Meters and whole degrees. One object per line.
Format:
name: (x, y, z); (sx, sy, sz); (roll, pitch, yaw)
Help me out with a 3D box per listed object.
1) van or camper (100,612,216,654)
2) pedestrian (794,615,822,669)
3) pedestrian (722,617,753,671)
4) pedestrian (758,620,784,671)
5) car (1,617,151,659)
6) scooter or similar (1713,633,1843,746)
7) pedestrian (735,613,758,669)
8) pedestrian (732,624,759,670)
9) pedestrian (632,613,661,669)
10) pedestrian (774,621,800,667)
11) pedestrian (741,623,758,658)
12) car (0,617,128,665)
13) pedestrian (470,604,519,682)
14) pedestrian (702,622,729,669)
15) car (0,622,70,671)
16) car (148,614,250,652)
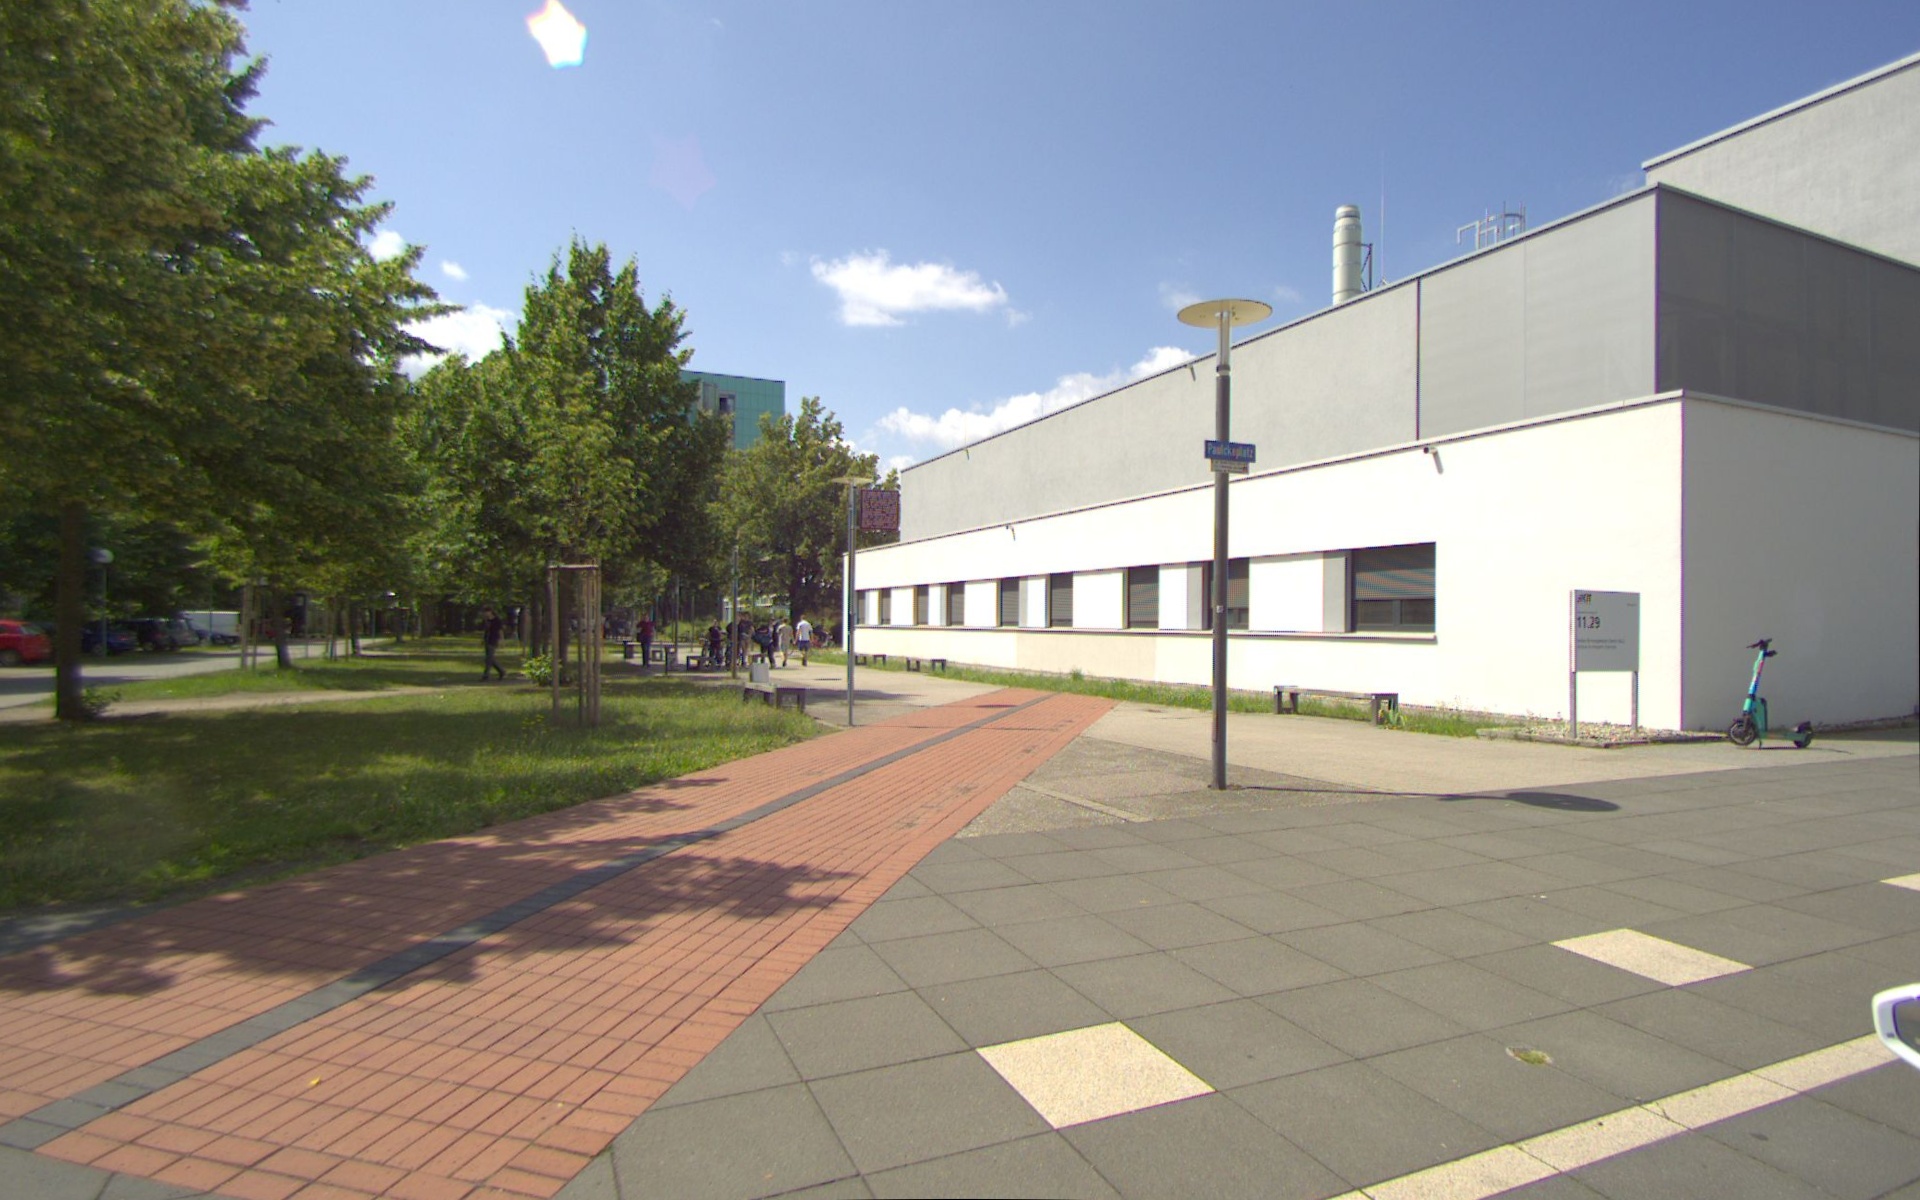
van or camper: (-38.825, 1.624, 48.746); (4.029, 1.910, 1.801); (2, -2, -26)
pedestrian: (-5.368, 1.477, 35.481); (0.813, 1.908, 0.760); (1, -1, -22)
pedestrian: (-7.198, 1.417, 32.466); (0.741, 1.720, 0.880); (1, -1, -29)
pedestrian: (-6.265, 1.489, 33.300); (0.785, 1.676, 0.731); (0, -1, -8)
car: (-35.248, 1.546, 40.191); (4.070, 1.562, 1.801); (2, -2, -26)
scooter or similar: (9.587, 1.032, 11.778); (1.290, 1.280, 0.483); (1, -1, -13)
pedestrian: (-7.126, 1.372, 33.593); (0.673, 1.863, 0.760); (0, -1, -8)
pedestrian: (-7.604, 1.660, 35.618); (0.689, 1.602, 0.847); (1, -2, -34)
pedestrian: (-10.878, 1.418, 34.884); (0.840, 1.916, 0.667); (0, -1, -8)
pedestrian: (-6.022, 1.538, 35.021); (0.747, 1.583, 0.727); (1, -1, -21)
pedestrian: (-10.427, 2.015, 49.673); (0.715, 1.716, 0.555); (1, -1, -22)
car: (-33.551, 1.512, 36.980); (4.070, 1.689, 1.801); (2, -2, -26)
pedestrian: (-10.992, 1.007, 23.728); (0.623, 1.810, 0.873); (-1, -1, 15)
pedestrian: (-8.575, 1.590, 35.195); (0.738, 1.602, 0.850); (1, -1, -25)
car: (-31.799, 1.471, 32.467); (4.065, 1.562, 1.803); (2, -2, -22)
car: (-41.399, 1.802, 54.771); (4.070, 1.969, 1.801); (2, -2, -26)
